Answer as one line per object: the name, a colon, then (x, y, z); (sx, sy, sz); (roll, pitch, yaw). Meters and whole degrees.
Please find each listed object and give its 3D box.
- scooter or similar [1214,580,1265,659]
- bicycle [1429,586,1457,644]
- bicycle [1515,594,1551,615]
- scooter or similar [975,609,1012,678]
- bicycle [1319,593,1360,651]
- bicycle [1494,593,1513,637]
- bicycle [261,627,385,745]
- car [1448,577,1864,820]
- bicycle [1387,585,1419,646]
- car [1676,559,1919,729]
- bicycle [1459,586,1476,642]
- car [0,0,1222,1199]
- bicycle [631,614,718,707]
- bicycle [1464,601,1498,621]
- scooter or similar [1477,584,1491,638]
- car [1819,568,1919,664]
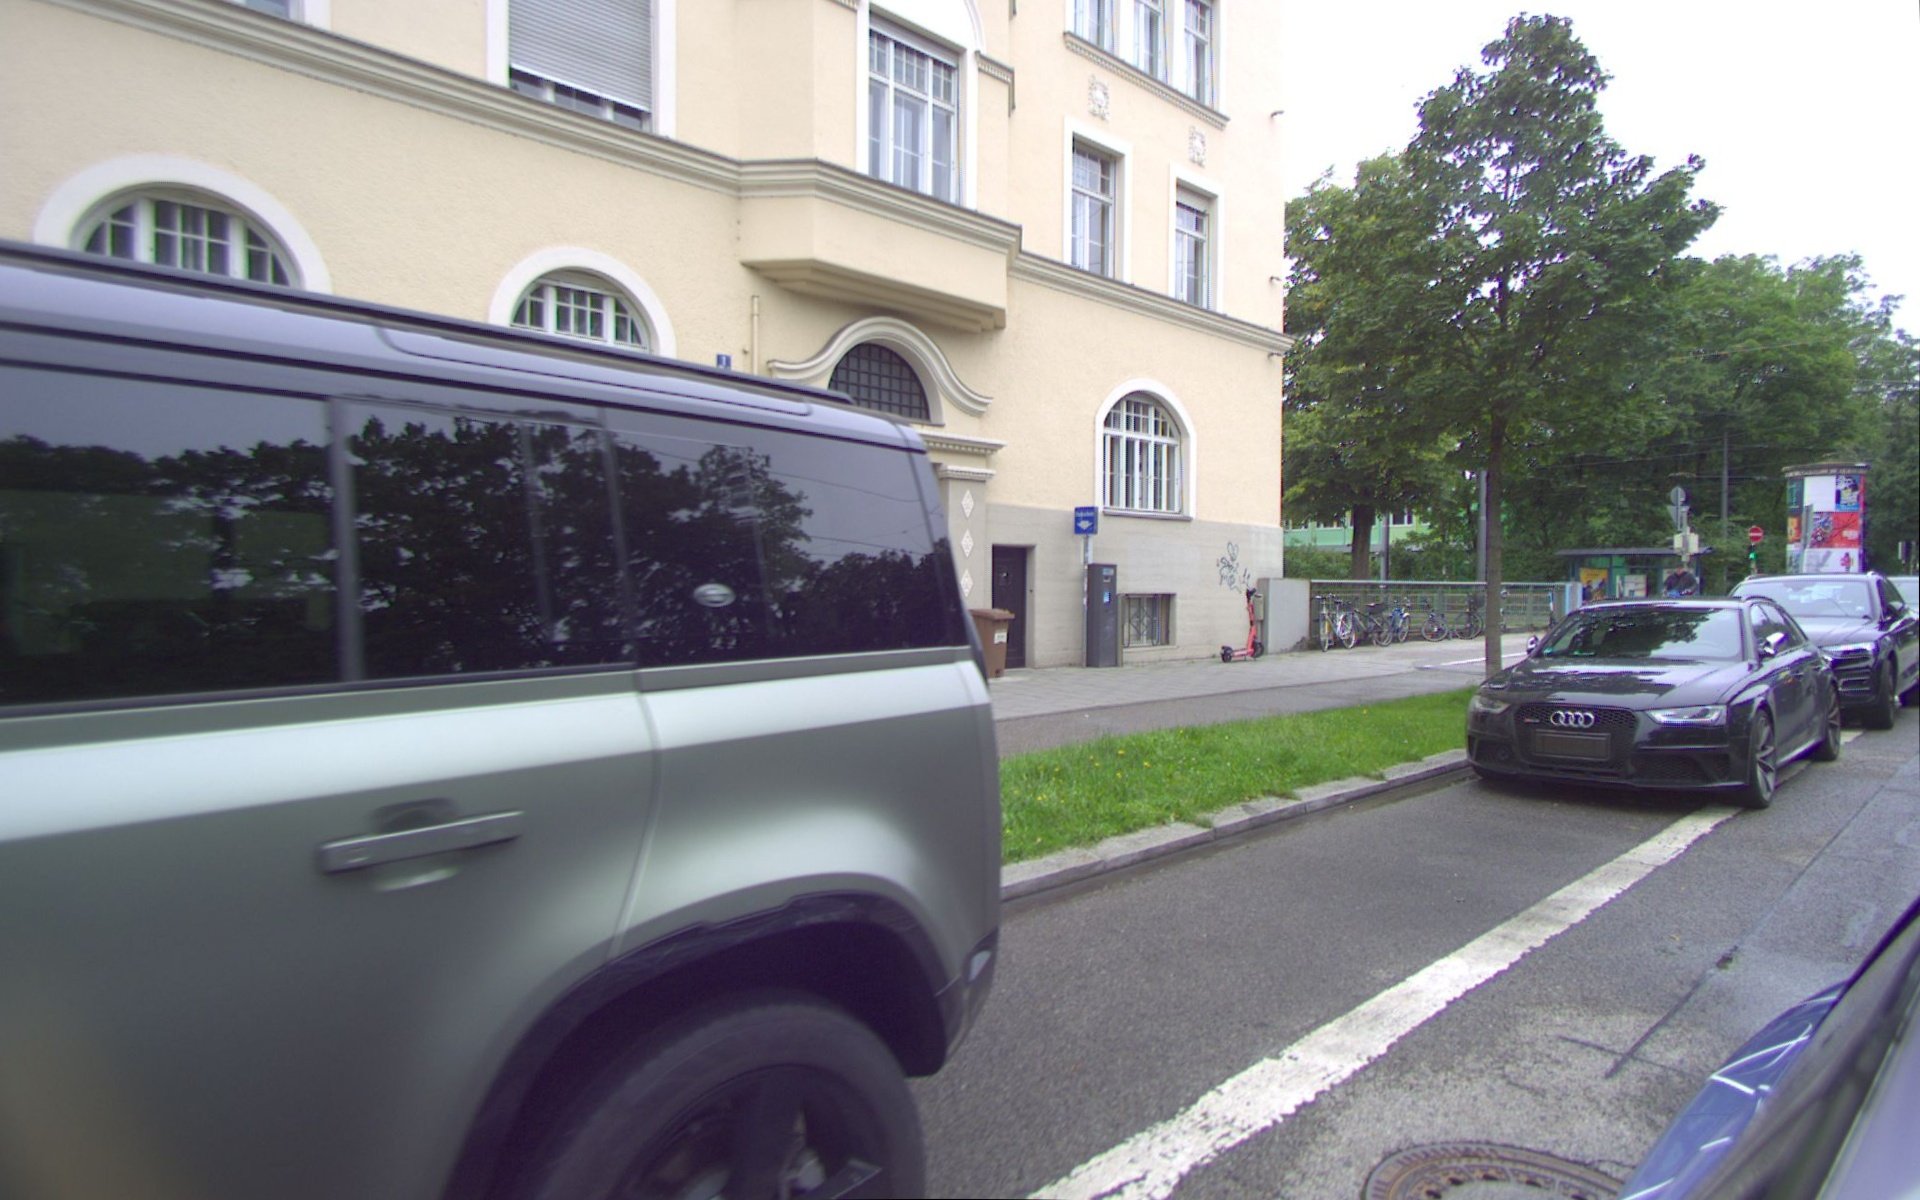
scooter or similar: (4.865, 0.321, 17.594); (1.123, 1.329, 0.261); (-1, -1, -43)
bicycle: (11.090, 0.335, 23.231); (0.281, 1.298, 1.391); (-2, -1, 37)
bicycle: (27.501, 0.205, 48.602); (0.366, 0.964, 1.483); (-1, 1, -38)
scooter or similar: (0.458, 0.595, 13.911); (0.345, 0.922, 0.417); (-2, -1, 29)
bicycle: (7.607, 0.422, 20.260); (0.286, 1.120, 1.421); (0, 0, 42)
bicycle: (13.889, 0.373, 25.843); (0.263, 1.096, 1.524); (-2, -1, 34)
bicycle: (-5.450, 0.713, 8.673); (0.870, 0.942, 0.273); (-1, -1, -40)
car: (5.807, 0.568, 8.189); (4.523, 1.444, 1.718); (-1, 0, -42)
bicycle: (9.592, 0.320, 21.878); (0.281, 1.298, 1.391); (-2, -1, 37)
car: (10.310, 0.409, 12.121); (4.409, 1.679, 1.777); (-1, 0, -40)
bicycle: (12.019, 0.312, 23.959); (0.280, 1.298, 1.396); (-2, -1, 29)
car: (-1.765, 0.395, 1.488); (4.727, 1.930, 1.915); (-1, 0, -43)
bicycle: (-3.033, 0.627, 10.782); (0.870, 0.942, 0.221); (-1, -1, -42)
bicycle: (26.085, 0.530, 50.653); (0.366, 0.964, 1.483); (-1, 1, -38)
scooter or similar: (12.745, 0.253, 24.609); (0.242, 1.279, 1.482); (-2, -1, 26)
car: (17.777, 0.268, 18.910); (4.583, 1.630, 1.904); (0, -1, -41)
